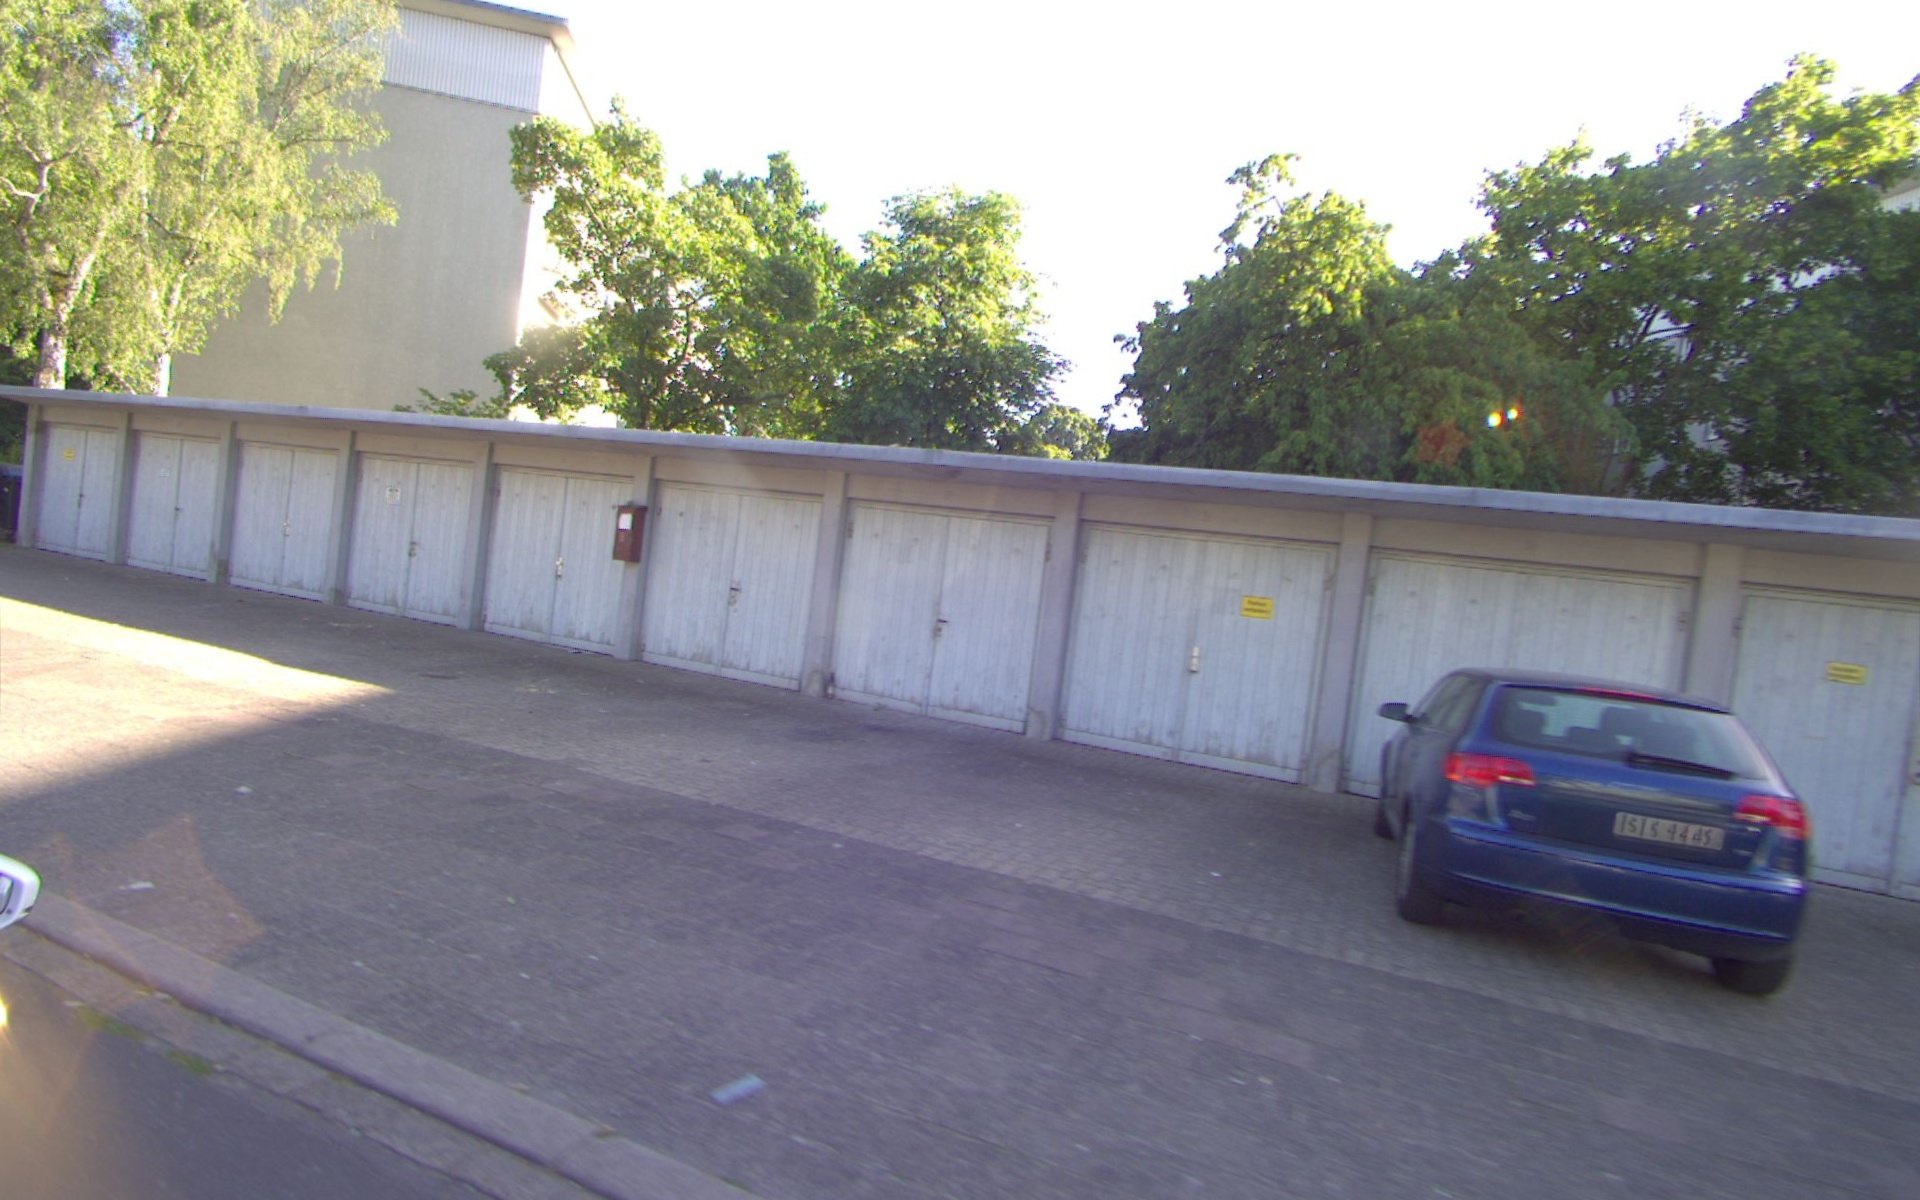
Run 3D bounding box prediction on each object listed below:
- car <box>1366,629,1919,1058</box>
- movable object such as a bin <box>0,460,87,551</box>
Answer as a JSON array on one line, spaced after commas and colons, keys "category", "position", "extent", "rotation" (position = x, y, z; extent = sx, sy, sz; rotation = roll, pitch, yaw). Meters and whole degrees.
[{"category": "car", "position": [3.704, 1.101, 6.351], "extent": [1.784, 1.513, 4.196], "rotation": [8, 0, 20]}, {"category": "movable object such as a bin", "position": [-17.745, -1.814, 19.123], "extent": [1.113, 1.485, 1.279], "rotation": [12, 3, 26]}]
